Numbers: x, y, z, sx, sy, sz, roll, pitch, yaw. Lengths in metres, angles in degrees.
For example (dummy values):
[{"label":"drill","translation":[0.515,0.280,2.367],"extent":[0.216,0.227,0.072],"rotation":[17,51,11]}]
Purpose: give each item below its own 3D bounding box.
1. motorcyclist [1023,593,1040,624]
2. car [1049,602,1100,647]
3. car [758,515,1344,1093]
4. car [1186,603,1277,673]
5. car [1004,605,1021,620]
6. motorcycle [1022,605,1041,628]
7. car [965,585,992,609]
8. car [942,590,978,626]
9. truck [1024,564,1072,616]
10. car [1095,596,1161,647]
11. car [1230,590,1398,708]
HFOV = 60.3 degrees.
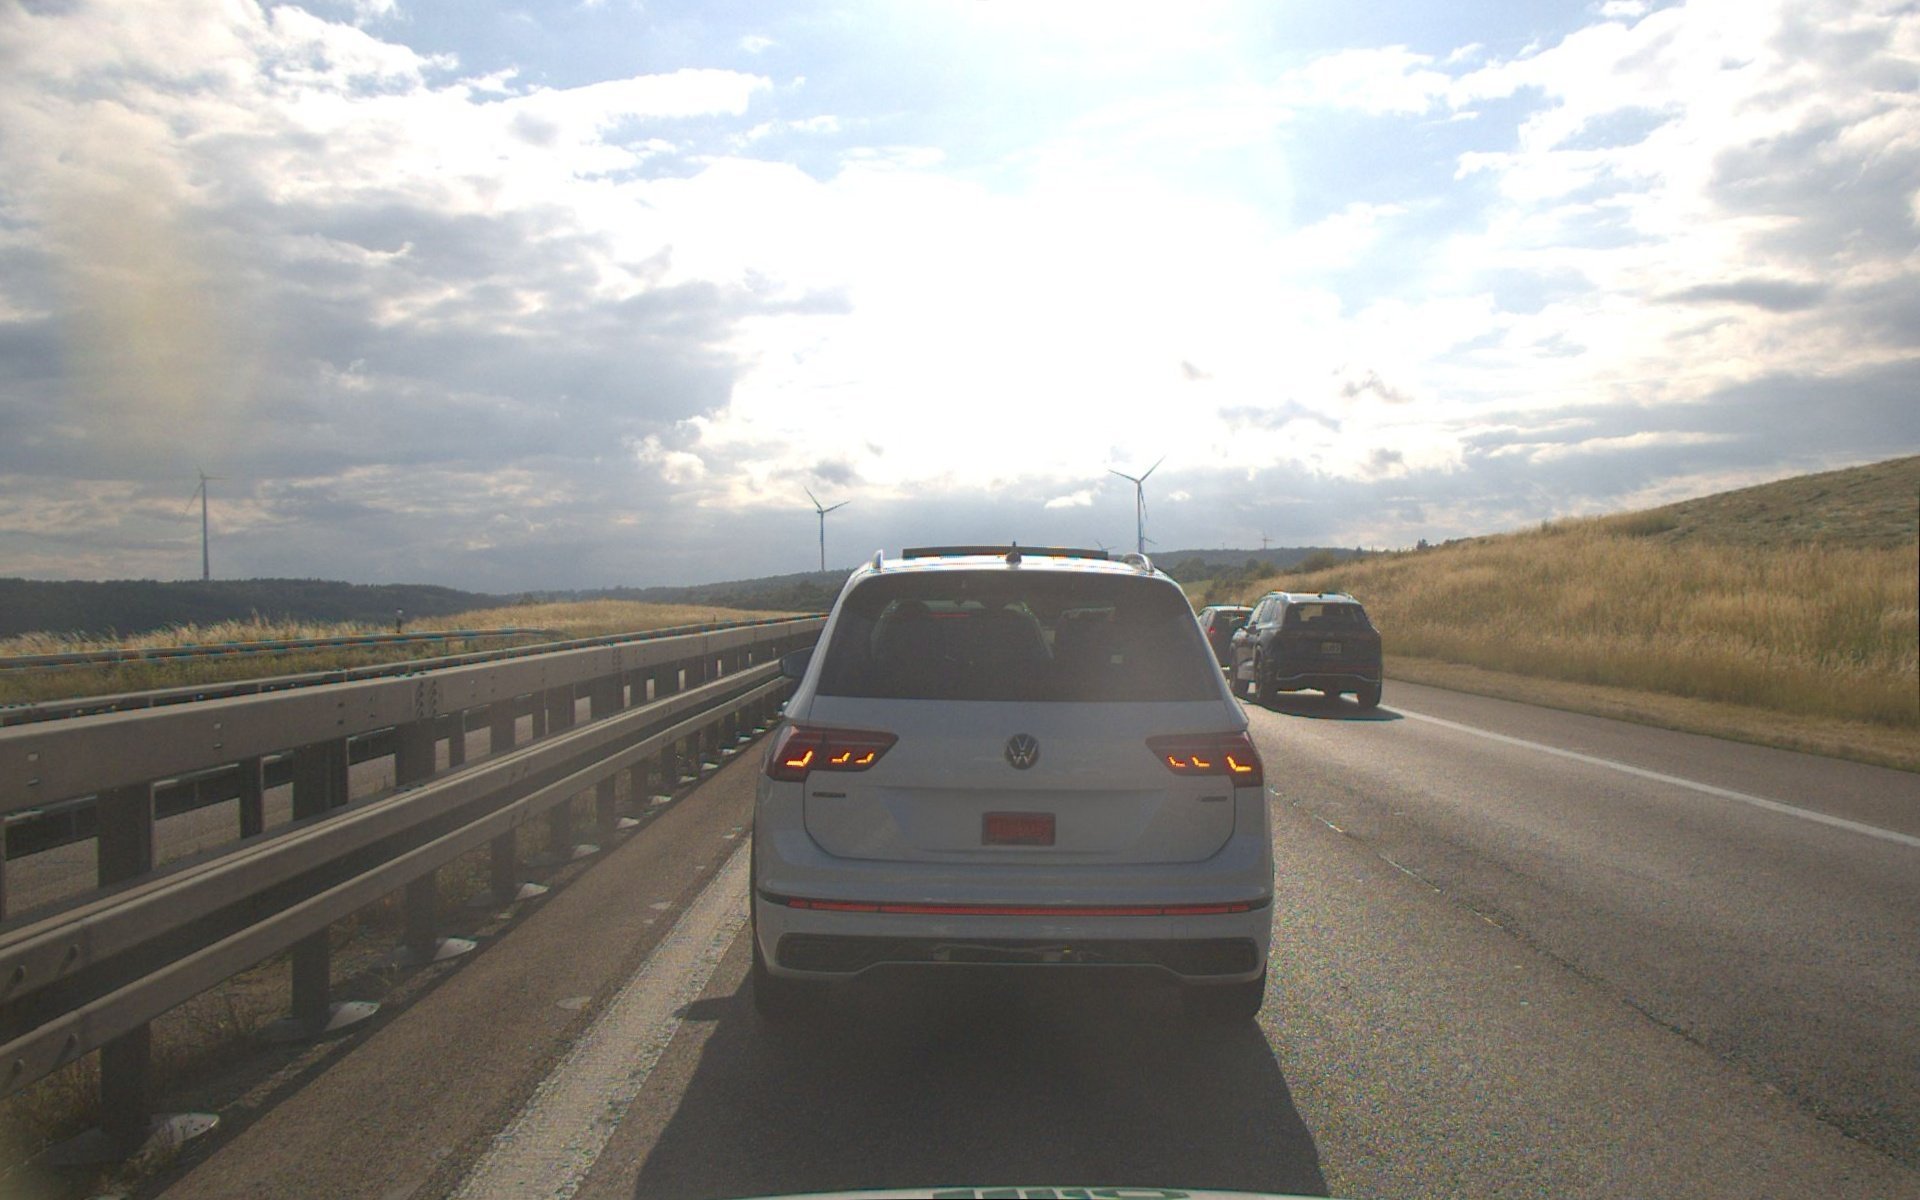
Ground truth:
[{"label":"motorcyclist","translation":[3.771,0.445,87.284],"extent":[0.832,1.587,0.934],"rotation":[0,-1,-2]},{"label":"car","translation":[4.443,0.931,64.625],"extent":[1.669,1.679,3.999],"rotation":[0,0,-1]},{"label":"car","translation":[0.248,0.616,6.906],"extent":[1.734,1.705,3.999],"rotation":[0,0,-1]},{"label":"car","translation":[5.897,0.794,36.253],"extent":[1.572,1.445,3.673],"rotation":[0,0,3]},{"label":"car","translation":[5.589,1.380,176.491],"extent":[1.669,1.573,3.999],"rotation":[0,0,-1]},{"label":"motorcycle","translation":[3.767,0.856,87.325],"extent":[0.877,1.211,2.256],"rotation":[0,0,-1]},{"label":"car","translation":[1.197,-0.171,110.155],"extent":[1.669,1.573,3.999],"rotation":[0,0,-1]},{"label":"car","translation":[-0.031,0.397,80.122],"extent":[1.669,1.679,3.999],"rotation":[0,0,-1]},{"label":"truck","translation":[6.298,-0.726,120.280],"extent":[3.118,3.656,11.132],"rotation":[0,0,1]},{"label":"car","translation":[5.404,0.684,53.540],"extent":[1.669,1.573,3.999],"rotation":[0,0,-1]},{"label":"car","translation":[5.424,0.719,25.855],"extent":[1.783,1.629,4.235],"rotation":[2,0,2]}]
